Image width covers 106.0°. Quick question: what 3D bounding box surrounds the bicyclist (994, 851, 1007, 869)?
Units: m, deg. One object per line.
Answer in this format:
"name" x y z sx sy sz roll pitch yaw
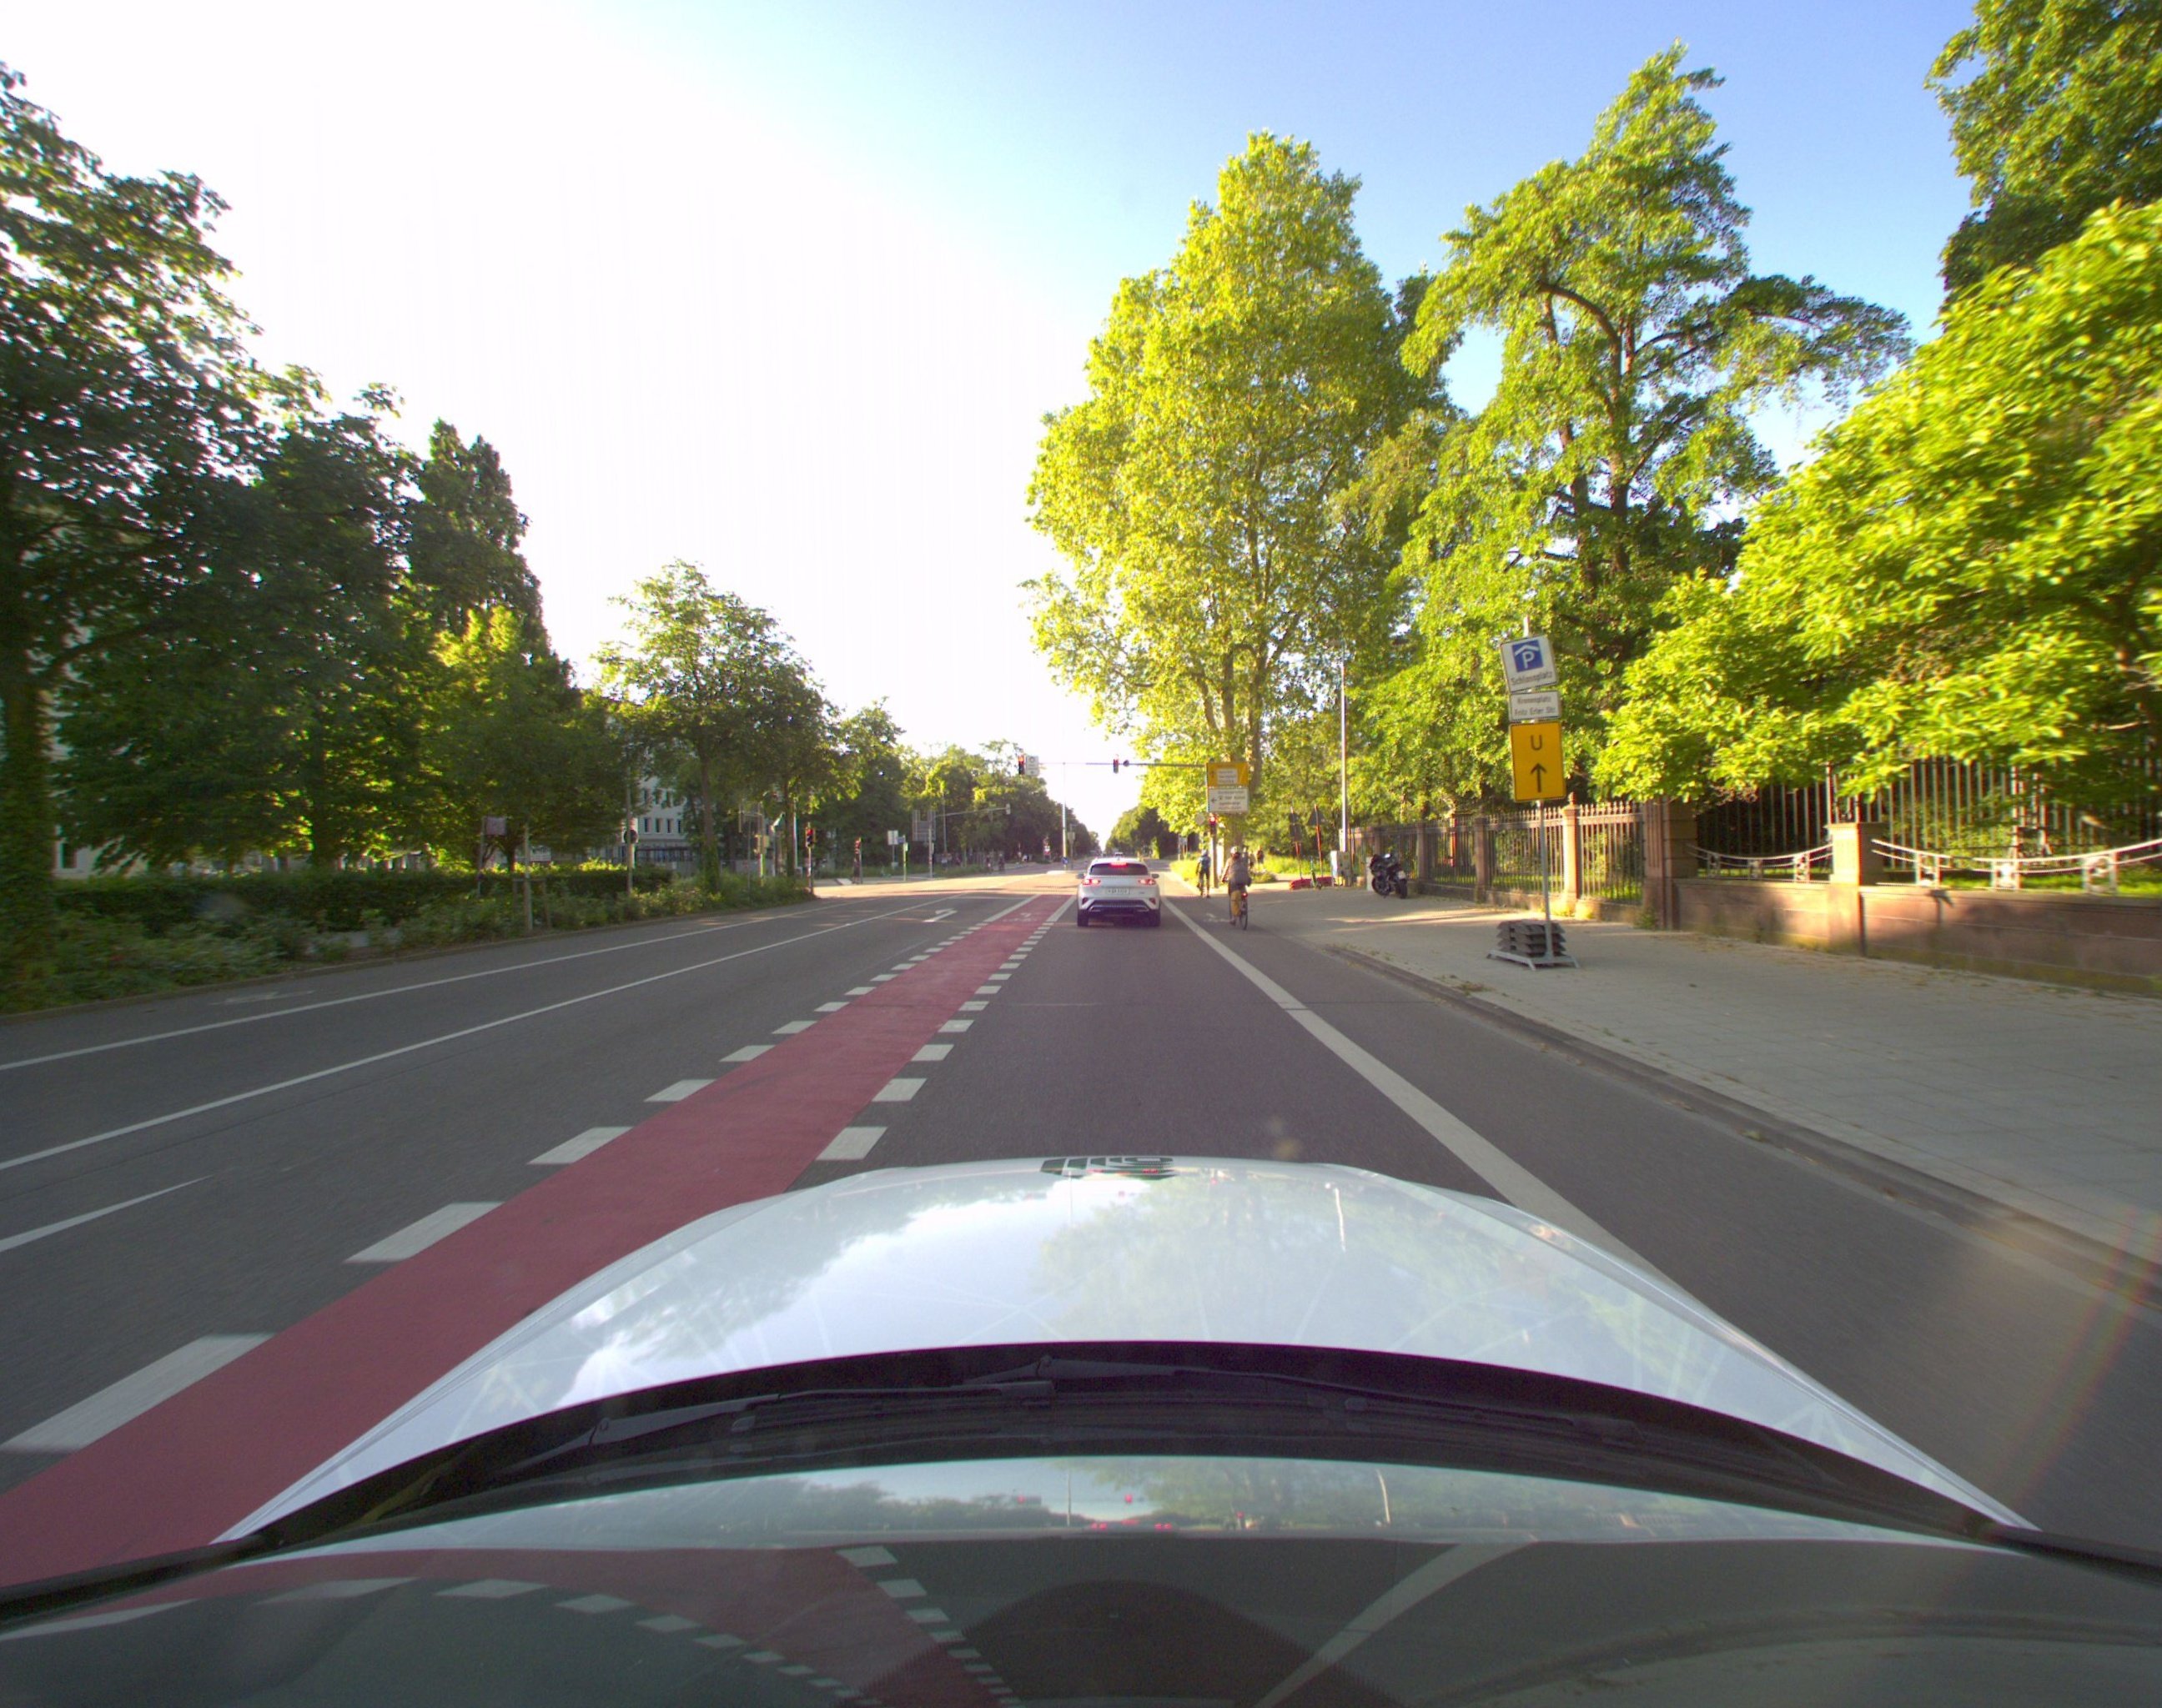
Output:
"bicyclist" -7.320 0.576 74.302 0.871 1.608 1.190 -2 0 5

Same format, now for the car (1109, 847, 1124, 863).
"car" 4.952 0.123 113.446 1.985 2.013 4.003 -2 0 3

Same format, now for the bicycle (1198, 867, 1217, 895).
"bicycle" 4.550 0.972 29.385 0.400 0.956 1.551 -4 -1 2

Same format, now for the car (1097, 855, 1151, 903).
"car" 1.445 0.813 28.203 1.722 1.483 3.518 -2 0 1

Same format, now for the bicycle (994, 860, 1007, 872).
"bicycle" -7.318 1.074 74.113 0.660 0.989 2.508 -2 0 5

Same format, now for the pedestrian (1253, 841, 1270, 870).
"pedestrian" 11.617 0.097 52.351 0.816 1.771 0.831 -2 0 -4

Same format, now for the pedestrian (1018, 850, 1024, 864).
"pedestrian" -8.728 0.503 118.648 0.637 2.014 0.756 -1 -1 13

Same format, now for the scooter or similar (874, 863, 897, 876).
"scooter or similar" -16.836 1.345 70.065 0.703 1.124 1.933 -1 -1 36

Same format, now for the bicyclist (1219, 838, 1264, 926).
"bicyclist" 3.402 0.574 17.381 0.750 1.796 1.165 0 0 2

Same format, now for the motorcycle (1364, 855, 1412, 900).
"motorcycle" 8.301 0.619 22.104 0.504 1.131 2.171 -3 -1 2

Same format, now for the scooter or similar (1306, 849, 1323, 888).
"scooter or similar" 8.191 0.488 28.573 0.227 1.327 1.172 -2 0 2

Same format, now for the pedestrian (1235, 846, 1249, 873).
"pedestrian" 10.191 0.365 51.690 0.688 1.699 0.643 -2 0 -4

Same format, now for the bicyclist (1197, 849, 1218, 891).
"bicyclist" 4.551 0.576 29.408 0.552 1.478 0.717 -4 -1 2

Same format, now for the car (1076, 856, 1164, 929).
"car" 0.874 0.800 18.942 1.814 1.480 3.938 -1 0 2

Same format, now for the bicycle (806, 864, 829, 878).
"bicycle" -22.064 1.438 68.162 1.858 1.148 0.290 0 -1 -4

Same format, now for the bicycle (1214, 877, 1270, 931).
"bicycle" 3.398 1.024 17.377 0.755 1.013 2.570 0 0 2

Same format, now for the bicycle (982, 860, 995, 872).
"bicycle" -8.753 1.118 76.763 0.576 0.989 2.720 -2 0 7

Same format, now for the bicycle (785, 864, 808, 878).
"bicycle" -23.908 1.422 68.410 1.847 1.148 0.445 -1 -1 17

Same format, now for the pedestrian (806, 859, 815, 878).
"pedestrian" -22.397 1.178 67.471 0.628 1.581 0.444 0 -1 -7

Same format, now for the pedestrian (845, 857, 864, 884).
"pedestrian" -16.976 1.206 61.085 0.989 2.014 1.194 -1 -1 8

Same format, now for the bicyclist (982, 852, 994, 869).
"bicyclist" -8.760 0.619 76.850 0.870 1.606 0.979 -2 0 6

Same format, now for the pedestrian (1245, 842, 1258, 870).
"pedestrian" 10.891 0.130 51.979 0.614 1.771 0.646 -2 0 -4

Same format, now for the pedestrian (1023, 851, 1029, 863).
"pedestrian" -8.095 0.389 120.601 0.781 1.785 0.752 0 -1 3
